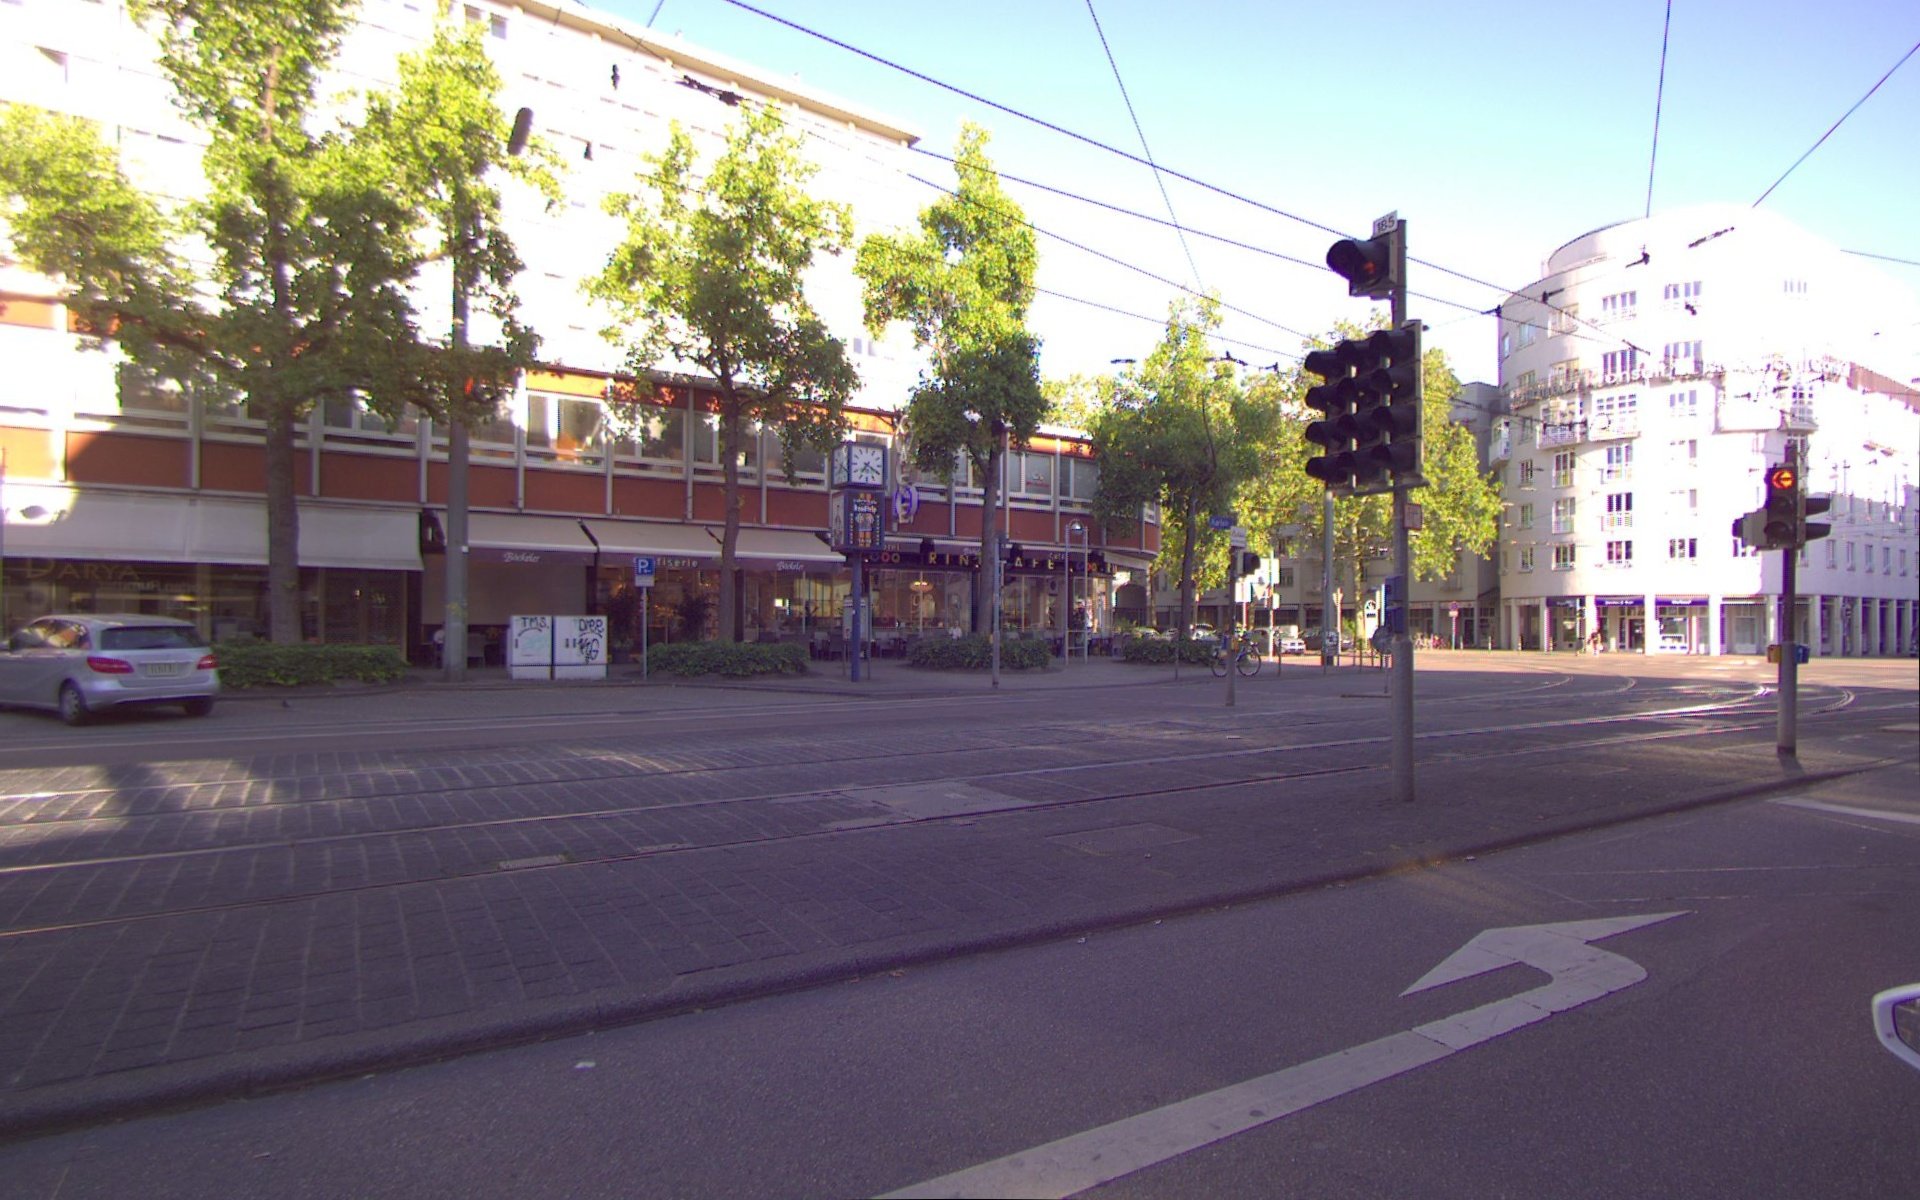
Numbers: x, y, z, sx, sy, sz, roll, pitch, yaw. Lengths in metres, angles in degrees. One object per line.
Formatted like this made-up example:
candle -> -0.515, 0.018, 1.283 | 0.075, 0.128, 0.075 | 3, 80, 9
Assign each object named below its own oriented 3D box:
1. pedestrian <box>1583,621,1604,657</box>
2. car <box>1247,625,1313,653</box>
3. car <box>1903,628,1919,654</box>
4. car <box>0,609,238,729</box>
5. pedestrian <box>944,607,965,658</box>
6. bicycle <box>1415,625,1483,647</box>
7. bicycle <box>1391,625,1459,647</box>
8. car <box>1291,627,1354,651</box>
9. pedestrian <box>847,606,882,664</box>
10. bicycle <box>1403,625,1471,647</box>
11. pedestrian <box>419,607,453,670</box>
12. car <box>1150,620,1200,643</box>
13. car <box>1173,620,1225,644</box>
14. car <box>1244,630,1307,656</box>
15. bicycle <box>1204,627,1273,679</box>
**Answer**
pedestrian -> 36.205, 2.242, 57.403 | 0.930, 2.040, 0.939 | 0, -1, 30
car -> 18.680, 2.267, 58.815 | 1.605, 1.579, 4.001 | 0, -2, -19
car -> 58.399, 2.453, 60.308 | 3.423, 1.566, 1.756 | 1, -2, -32
car -> -13.517, 0.982, 15.724 | 4.200, 1.587, 1.825 | 1, -1, 26
pedestrian -> -0.194, 1.109, 34.977 | 0.590, 1.745, 0.647 | 0, 1, -14
bicycle -> 35.217, 2.578, 72.423 | 1.053, 1.550, 4.684 | 1, -2, -29
bicycle -> 32.894, 2.532, 71.130 | 1.053, 1.550, 4.684 | 1, -2, -29
car -> 24.110, 2.574, 66.932 | 1.595, 1.551, 3.972 | 0, -1, -27
pedestrian -> -2.965, 1.069, 31.140 | 0.866, 1.745, 0.700 | 0, 1, -34
bicycle -> 33.924, 2.539, 71.594 | 1.053, 1.550, 4.684 | 1, -2, -29
pedestrian -> -13.535, 0.977, 25.927 | 0.699, 1.584, 0.867 | 1, -1, -33
car -> 18.378, 2.681, 85.929 | 3.954, 1.990, 1.984 | 1, -1, -31
car -> 19.860, 2.644, 83.419 | 3.954, 1.990, 1.984 | 1, -1, -31
car -> 16.816, 2.280, 53.702 | 1.738, 1.312, 4.014 | 0, -2, -7
bicycle -> 7.650, 1.441, 27.549 | 1.884, 1.345, 0.667 | 1, 2, -30
